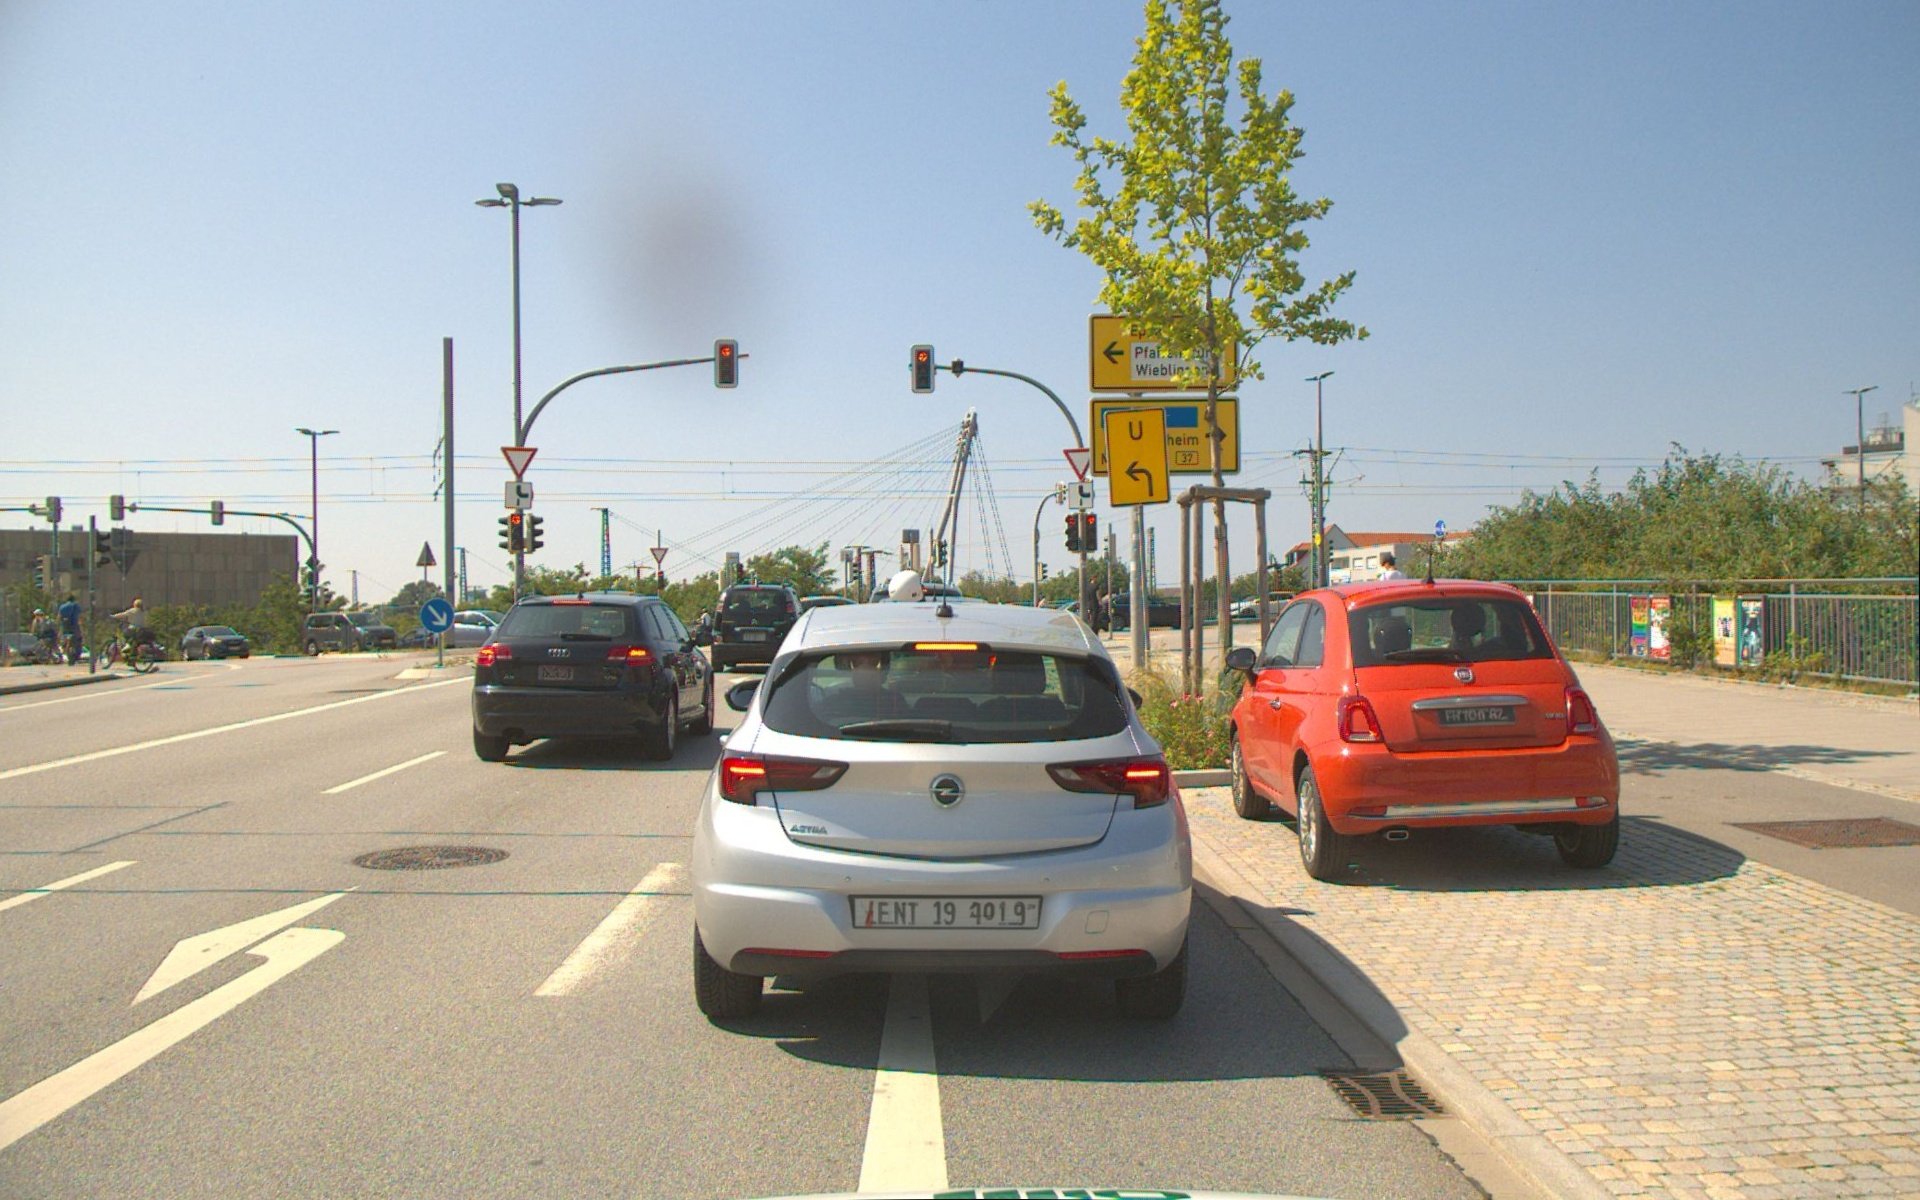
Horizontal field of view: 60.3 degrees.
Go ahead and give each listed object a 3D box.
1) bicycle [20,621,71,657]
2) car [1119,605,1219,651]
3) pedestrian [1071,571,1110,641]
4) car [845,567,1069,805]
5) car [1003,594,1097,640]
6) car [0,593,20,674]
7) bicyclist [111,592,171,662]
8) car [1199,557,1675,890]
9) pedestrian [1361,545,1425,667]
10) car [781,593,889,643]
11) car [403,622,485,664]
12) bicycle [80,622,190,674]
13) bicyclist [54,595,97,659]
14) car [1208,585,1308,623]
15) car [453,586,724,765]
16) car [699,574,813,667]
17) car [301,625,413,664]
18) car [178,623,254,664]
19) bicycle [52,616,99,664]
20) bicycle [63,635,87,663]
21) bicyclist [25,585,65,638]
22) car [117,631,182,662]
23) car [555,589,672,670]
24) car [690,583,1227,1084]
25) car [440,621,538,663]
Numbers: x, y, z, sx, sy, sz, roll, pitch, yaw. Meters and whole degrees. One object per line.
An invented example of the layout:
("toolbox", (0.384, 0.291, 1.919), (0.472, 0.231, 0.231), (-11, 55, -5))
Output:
("bicycle", (-26.831, 1.140, 48.509), (2.470, 1.025, 0.601), (-1, -2, 44))
("car", (8.031, 1.084, 63.623), (3.442, 1.669, 1.796), (1, -1, -9))
("pedestrian", (3.592, 0.159, 45.484), (0.740, 1.896, 0.738), (0, -1, 40))
("car", (-0.070, 0.654, 14.013), (1.602, 1.703, 3.743), (1, -1, -2))
("car", (4.225, 0.817, 77.730), (3.925, 2.049, 1.990), (-1, -1, -18))
("car", (-25.645, 0.847, 43.338), (1.653, 2.049, 3.958), (2, -1, -31))
("bicyclist", (-19.213, 0.637, 38.802), (0.925, 1.596, 0.823), (1, -1, 9))
("car", (2.619, 0.576, 10.042), (1.636, 1.566, 3.916), (-2, 1, -2))
("pedestrian", (6.762, 0.103, 25.868), (0.743, 1.862, 0.884), (1, -1, -1))
("car", (-4.482, 0.642, 59.173), (3.742, 1.657, 1.854), (1, -1, -6))
("car", (-26.220, 2.163, 84.028), (3.917, 2.049, 1.994), (0, -1, 34))
("bicycle", (-19.351, 1.122, 38.806), (2.307, 1.147, 0.678), (1, -1, 9))
("bicyclist", (-22.613, 0.690, 42.293), (0.853, 1.587, 0.815), (2, -1, -35))
("car", (13.921, 0.189, 77.342), (4.180, 1.703, 1.990), (1, -1, -18))
("car", (-3.351, 0.648, 15.655), (1.671, 1.437, 3.999), (1, -1, -1))
("car", (-3.822, 0.397, 31.587), (1.767, 1.650, 3.915), (0, -1, -1))
("car", (-25.353, 1.854, 69.521), (4.387, 1.481, 1.997), (1, -1, 29))
("car", (-34.522, 2.020, 76.697), (4.139, 1.771, 1.707), (0, -1, 43))
("bicycle", (-22.718, 1.018, 42.461), (0.720, 1.153, 2.502), (-6, 2, -34))
("bicycle", (-24.823, 1.365, 46.380), (0.509, 0.704, 2.230), (1, -1, -30))
("bicyclist", (-26.817, 0.349, 48.490), (0.647, 1.528, 0.838), (0, -1, 43))
("car", (-41.802, 2.391, 85.275), (3.929, 1.481, 1.674), (1, -1, 42))
("car", (-6.396, 0.539, 30.821), (1.555, 1.419, 3.338), (0, -1, -2))
("car", (-0.052, 0.730, 7.267), (1.656, 1.546, 4.269), (0, 0, -1))
("car", (-17.349, 1.539, 60.924), (3.077, 1.464, 1.587), (1, -1, 16))
